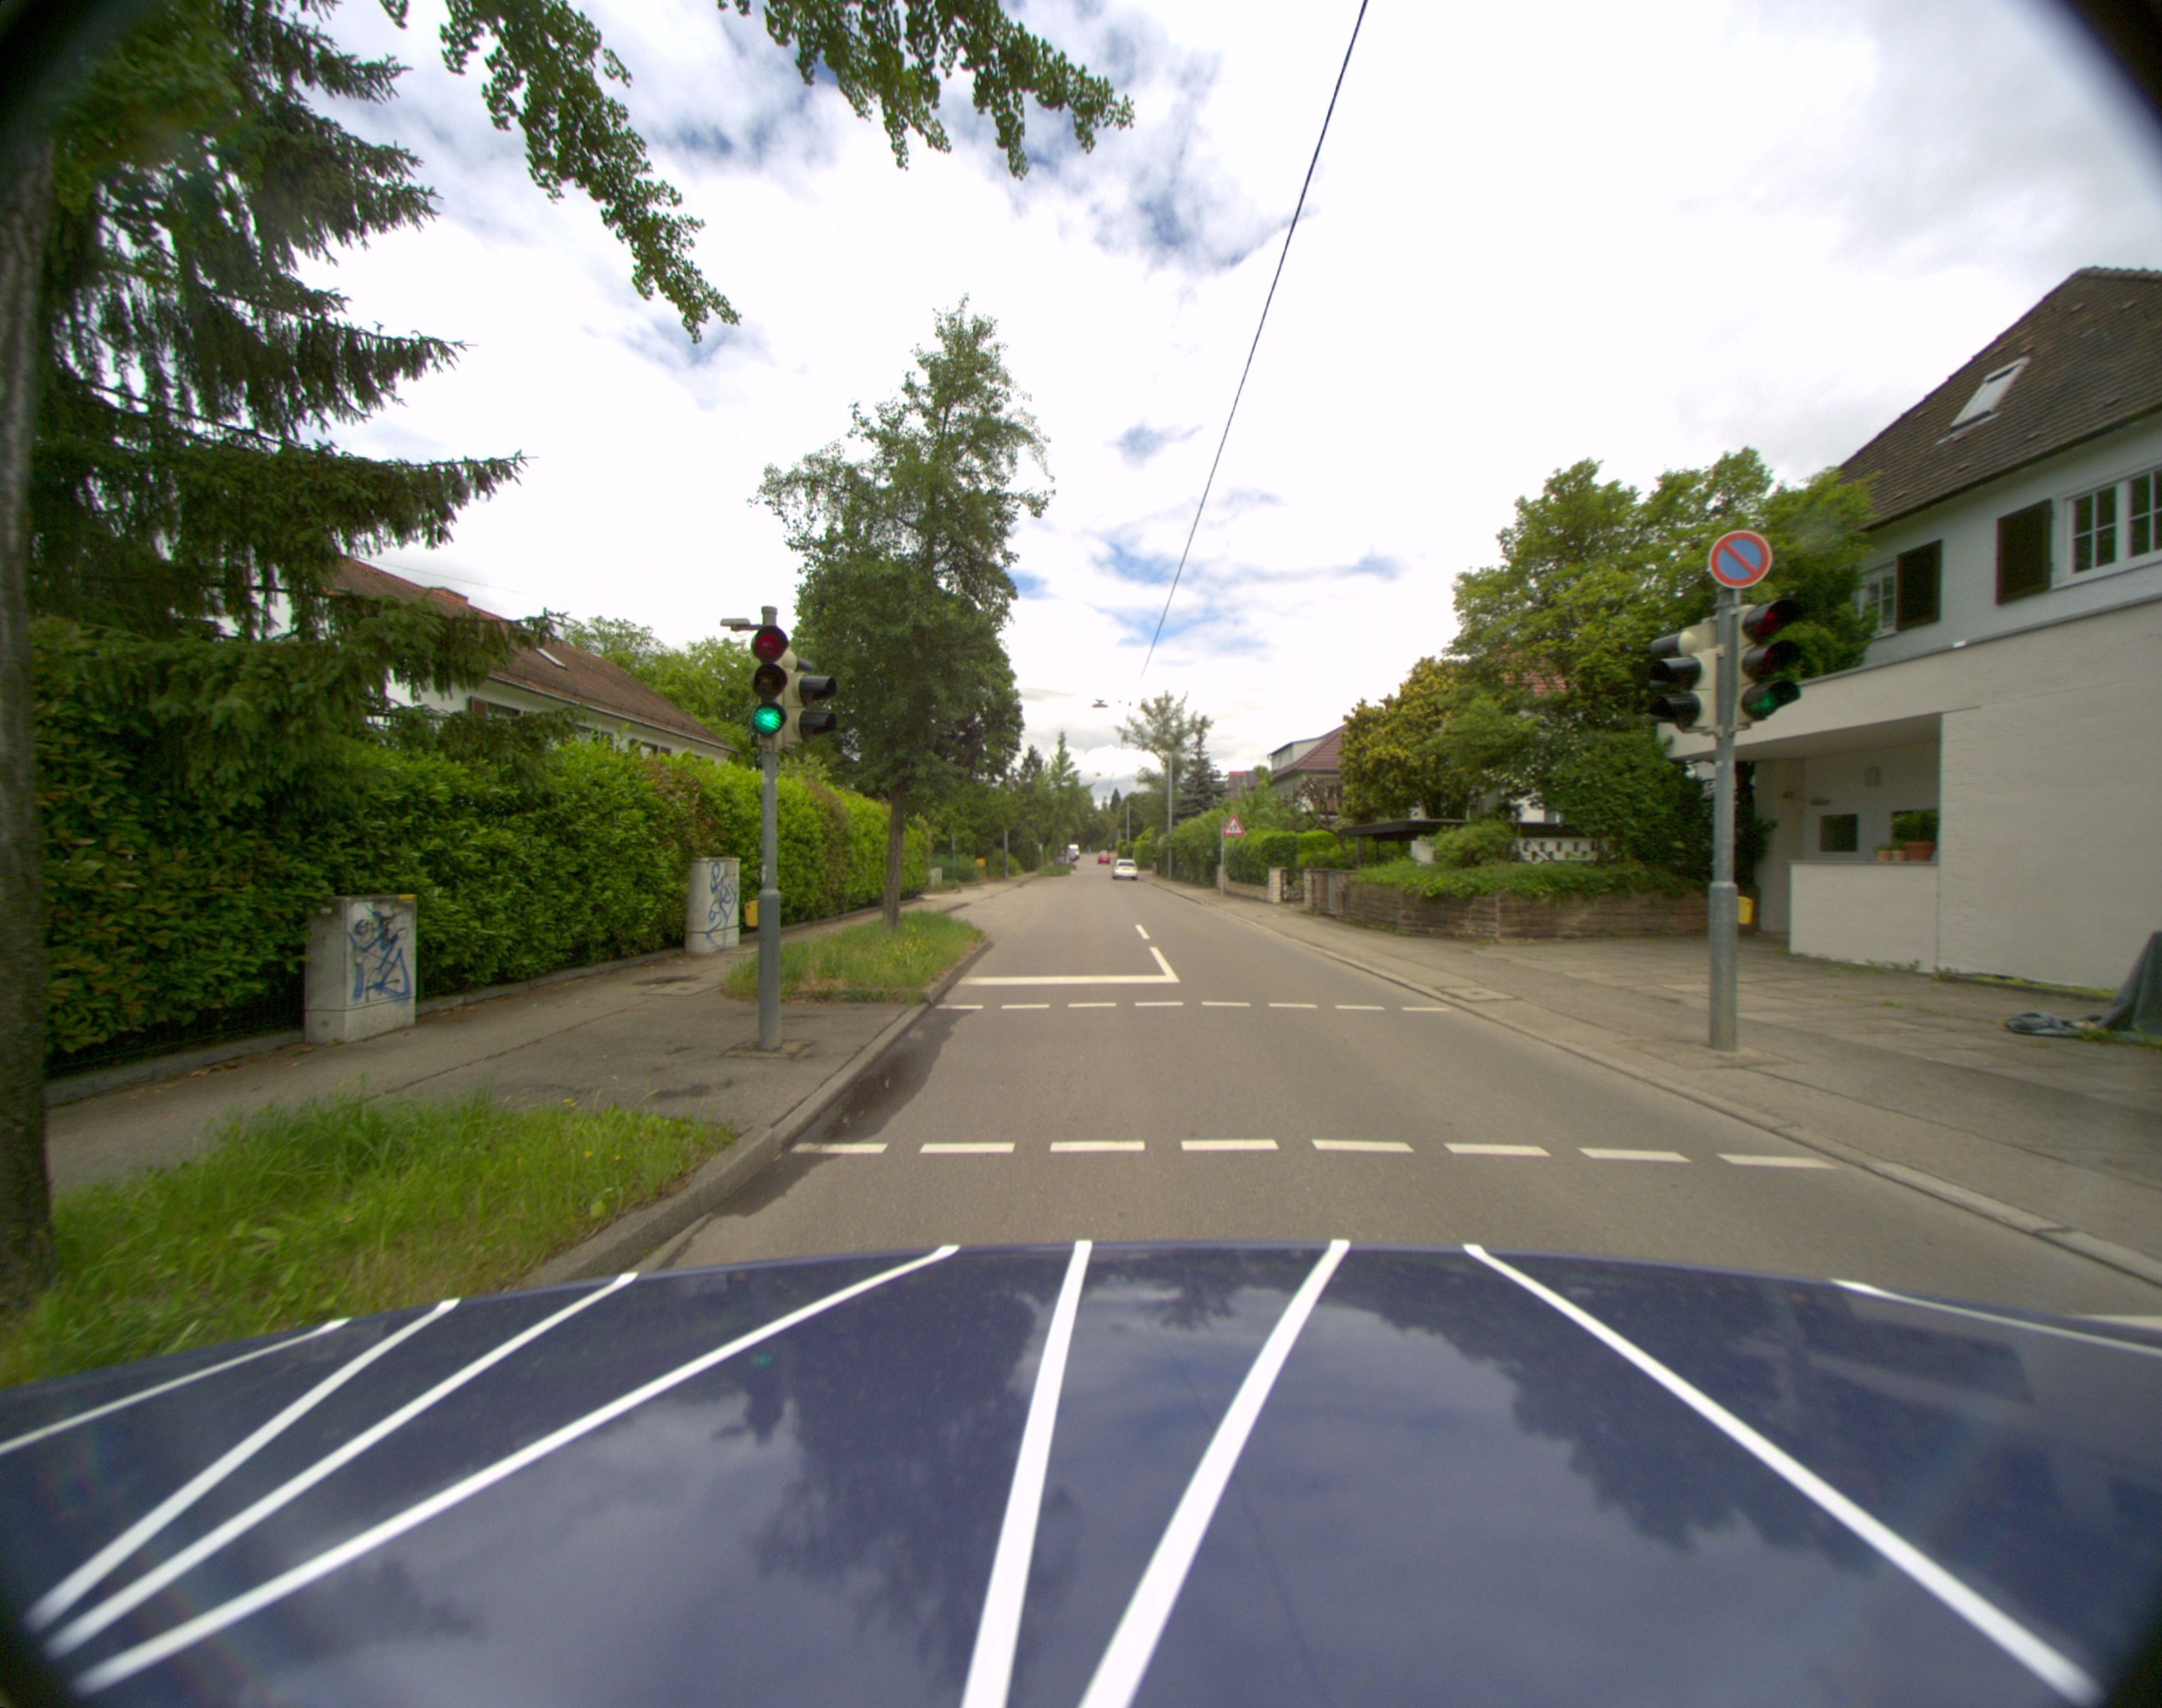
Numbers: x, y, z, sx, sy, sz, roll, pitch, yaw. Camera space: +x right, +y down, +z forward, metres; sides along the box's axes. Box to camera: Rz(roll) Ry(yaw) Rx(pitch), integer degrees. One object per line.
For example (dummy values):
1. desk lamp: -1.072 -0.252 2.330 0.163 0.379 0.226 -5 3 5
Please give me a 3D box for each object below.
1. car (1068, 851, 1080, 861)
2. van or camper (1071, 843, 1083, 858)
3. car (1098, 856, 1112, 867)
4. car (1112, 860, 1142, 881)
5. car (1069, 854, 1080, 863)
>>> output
1. car: -1.129 0.389 131.151 1.893 1.572 4.764 1 1 1
2. van or camper: -0.800 -0.737 139.756 2.046 2.605 7.036 -1 1 -1
3. car: 3.610 1.109 114.151 1.810 1.423 4.118 3 0 0
4. car: 3.413 1.220 57.040 1.859 1.443 4.281 2 0 -1
5. car: -1.029 0.795 125.268 1.683 1.399 4.054 -2 0 1
